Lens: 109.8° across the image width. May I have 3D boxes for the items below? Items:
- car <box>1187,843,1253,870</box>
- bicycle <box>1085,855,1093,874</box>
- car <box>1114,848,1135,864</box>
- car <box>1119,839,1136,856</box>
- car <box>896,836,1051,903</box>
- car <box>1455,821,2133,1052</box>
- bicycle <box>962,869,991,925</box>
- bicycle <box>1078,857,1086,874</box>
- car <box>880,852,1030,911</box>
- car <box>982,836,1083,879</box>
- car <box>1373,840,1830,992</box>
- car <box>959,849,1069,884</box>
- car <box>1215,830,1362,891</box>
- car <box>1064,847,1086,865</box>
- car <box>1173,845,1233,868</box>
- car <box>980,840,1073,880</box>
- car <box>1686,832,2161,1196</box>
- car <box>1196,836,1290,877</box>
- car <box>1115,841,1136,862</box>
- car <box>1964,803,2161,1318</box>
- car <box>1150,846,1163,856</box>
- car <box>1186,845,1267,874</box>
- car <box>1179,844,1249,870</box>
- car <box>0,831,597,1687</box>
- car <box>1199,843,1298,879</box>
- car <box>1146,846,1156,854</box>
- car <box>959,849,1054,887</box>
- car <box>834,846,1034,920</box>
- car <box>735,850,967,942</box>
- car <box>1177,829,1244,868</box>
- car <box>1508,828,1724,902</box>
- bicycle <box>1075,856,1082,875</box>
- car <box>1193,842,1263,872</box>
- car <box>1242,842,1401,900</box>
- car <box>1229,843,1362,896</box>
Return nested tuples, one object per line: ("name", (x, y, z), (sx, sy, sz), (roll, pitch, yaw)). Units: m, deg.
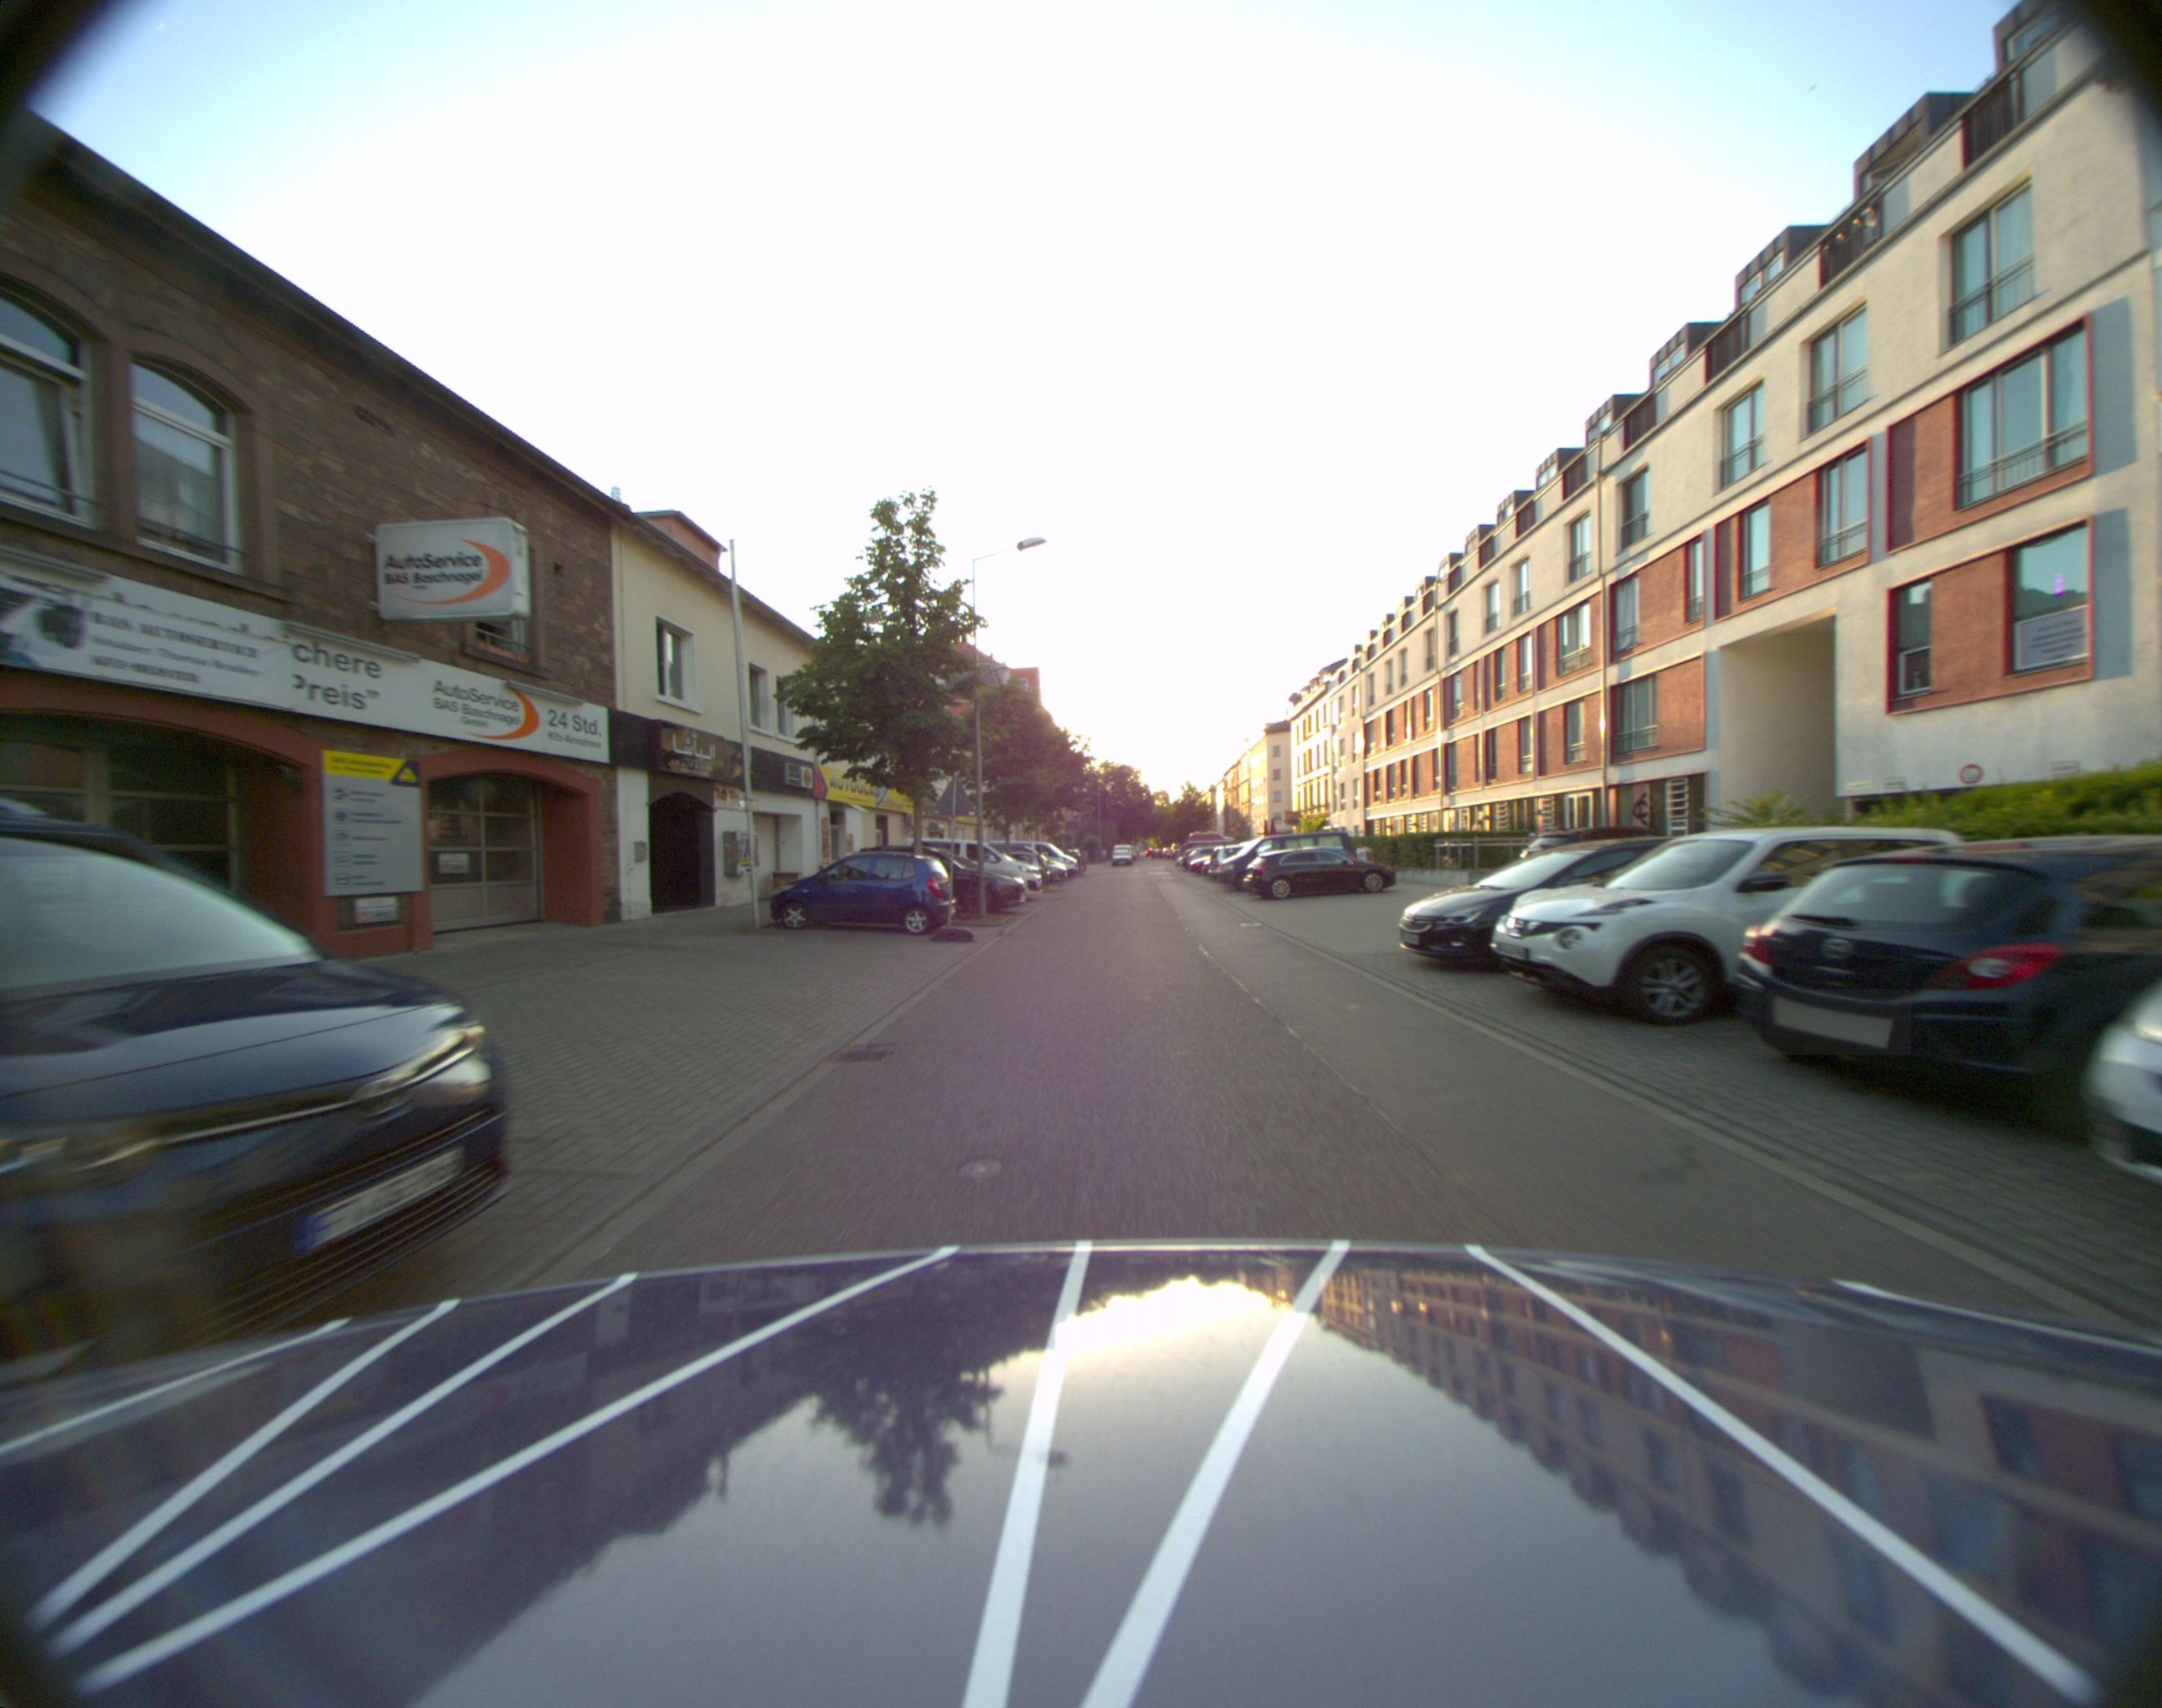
("car", (8.680, 0.142, 47.711), (3.957, 1.531, 1.756), (-2, 1, 6))
("bicycle", (0.501, 0.650, 46.818), (0.357, 1.093, 1.972), (-2, 1, 2))
("car", (3.902, 0.161, 68.448), (1.732, 1.367, 3.763), (-2, 1, 2))
("car", (5.755, -0.868, 94.252), (1.998, 2.002, 4.000), (-2, 1, 2))
("car", (-3.453, 0.461, 24.929), (4.596, 1.851, 2.012), (3, 1, 5))
("car", (5.980, 0.660, 6.849), (4.253, 1.611, 1.813), (-3, 0, 3))
("bicycle", (-2.414, 0.964, 17.647), (0.309, 1.185, 1.762), (-2, 1, 2))
("bicycle", (0.067, 0.706, 46.790), (0.357, 1.018, 1.972), (-2, 1, 2))
("car", (-3.667, 0.768, 22.620), (3.995, 1.487, 1.892), (3, 1, 5))
("car", (-2.507, 0.179, 40.263), (4.970, 2.089, 2.151), (-1, 2, 8))
("car", (6.259, 0.696, 9.551), (4.419, 1.443, 1.827), (-4, 1, 1))
("car", (-2.998, 0.559, 34.692), (4.732, 1.487, 2.000), (1, 1, 3))
("car", (7.416, 0.231, 27.628), (4.865, 2.043, 2.001), (-1, 1, 6))
("car", (-0.523, 0.199, 68.884), (1.799, 1.515, 4.000), (-2, 1, 2))
("car", (8.867, 0.165, 55.289), (3.988, 1.408, 1.804), (-3, 1, -2))
("car", (-2.675, 0.277, 37.760), (4.300, 1.847, 2.001), (1, 1, 7))
("car", (6.220, 0.687, 4.347), (3.996, 1.476, 1.756), (-5, 0, 2))
("car", (7.942, 0.129, 37.553), (4.188, 1.885, 1.897), (-1, 1, 0))
("car", (4.346, -0.262, 74.090), (1.939, 1.893, 4.055), (-2, 1, 2))
("car", (5.901, 0.610, 2.074), (4.431, 1.791, 1.944), (-3, 0, 5))
("car", (11.281, -0.503, 114.040), (1.762, 1.478, 3.784), (0, 1, 2))
("car", (8.099, 0.286, 42.513), (4.272, 1.485, 1.789), (-2, 1, 5))
("car", (8.746, 0.167, 50.067), (4.346, 1.515, 1.706), (-2, 1, 4))
("car", (-4.581, 0.773, 2.387), (4.798, 1.743, 2.017), (2, 0, 2))
("car", (7.666, 0.300, 34.975), (3.999, 1.580, 2.052), (-1, 1, -5))
("car", (13.796, -0.861, 150.277), (1.890, 1.513, 4.001), (-1, 1, 4))
("car", (-3.114, 0.586, 32.196), (3.794, 1.488, 1.681), (1, 1, 2))
("car", (-3.742, 0.704, 19.845), (4.704, 1.622, 2.001), (2, 1, 5))
("car", (-4.466, 0.785, 15.184), (3.996, 1.537, 1.845), (2, 1, 3))
("car", (9.000, -0.377, 52.947), (4.411, 2.542, 1.932), (-1, 1, 5))
("car", (13.145, 0.235, 18.856), (3.998, 1.625, 1.999), (-2, 1, -2))
("bicycle", (-0.145, 0.674, 44.863), (0.357, 1.018, 1.785), (-2, 1, 2))
("car", (8.679, 0.160, 45.029), (3.894, 1.608, 1.700), (-2, 1, 6))
("car", (7.118, 0.488, 22.733), (4.149, 1.408, 1.738), (-4, 1, -1))
("car", (7.014, 0.495, 25.116), (3.893, 1.484, 1.654), (-3, 1, 1))
